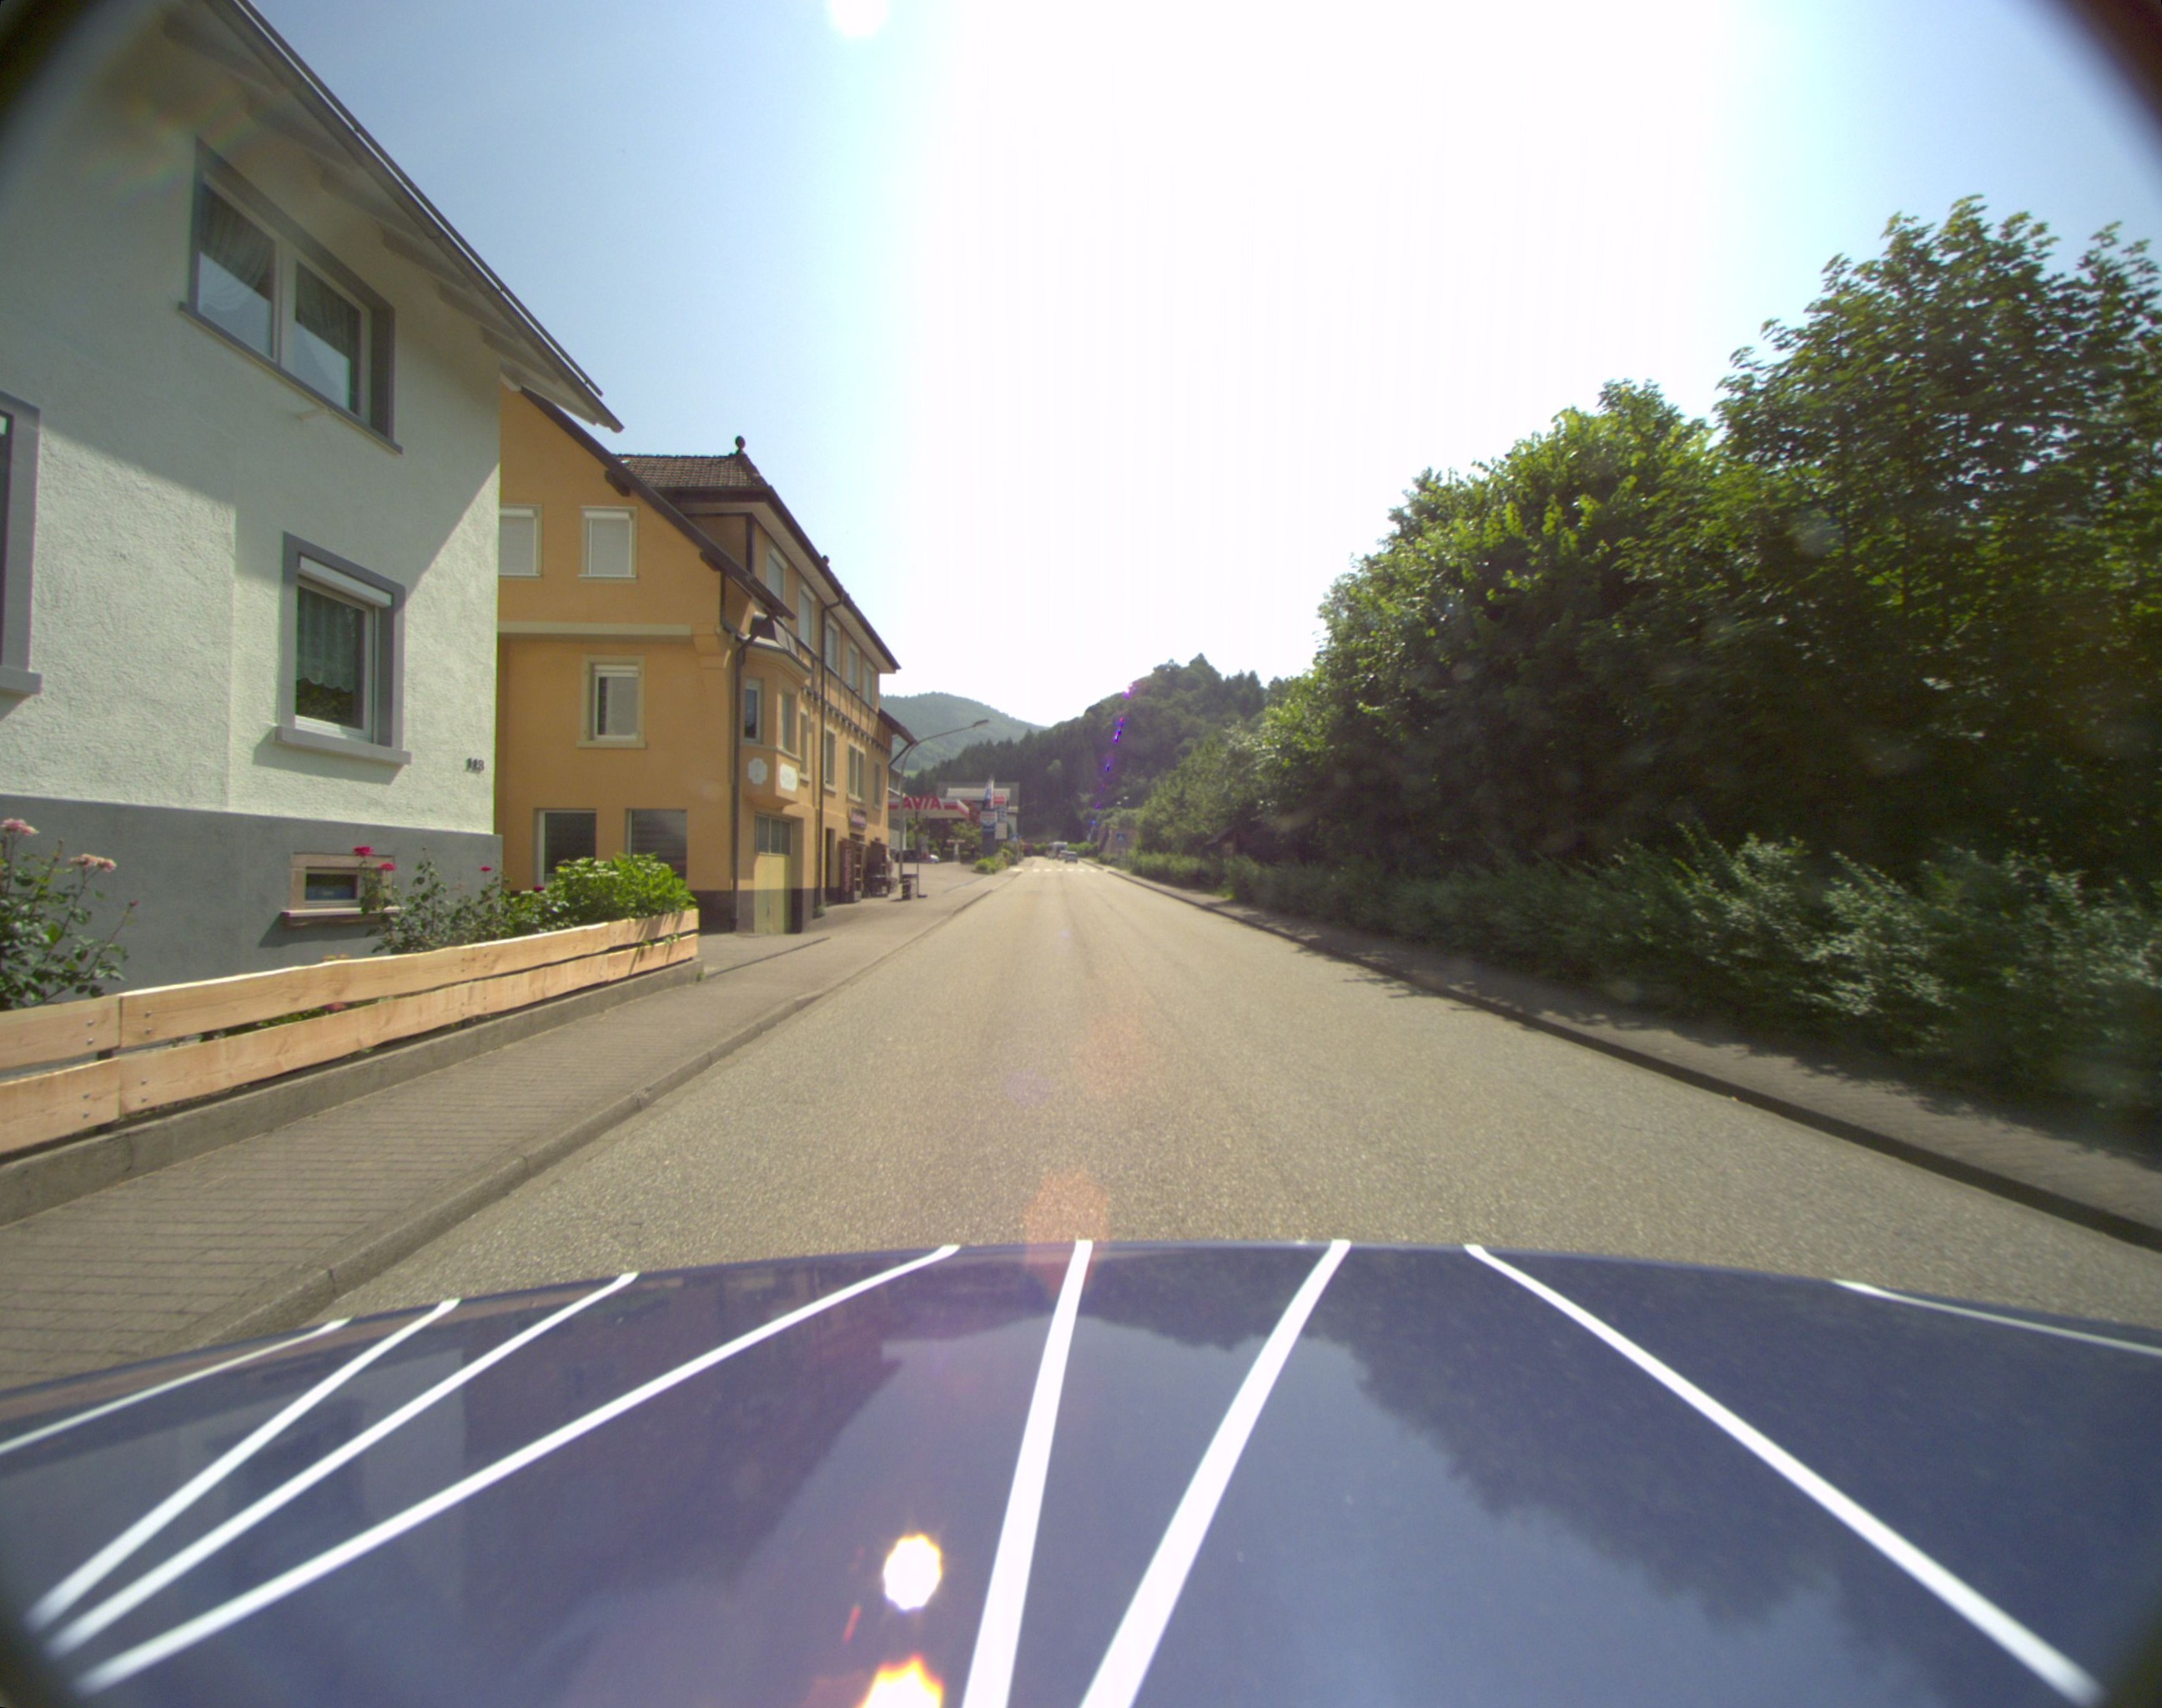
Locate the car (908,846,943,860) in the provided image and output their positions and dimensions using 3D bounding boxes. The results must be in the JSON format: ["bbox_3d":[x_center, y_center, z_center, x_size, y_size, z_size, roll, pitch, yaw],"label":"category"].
[{"bbox_3d":[-15.144,-0.147,74.217,3.081,1.138,1.334,4,1,-3],"label":"car"}]

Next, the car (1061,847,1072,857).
[{"bbox_3d":[-2.222,-0.264,118.658,1.609,1.398,3.825,3,1,-2],"label":"car"}]

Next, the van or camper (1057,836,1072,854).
[{"bbox_3d":[-2.878,-1.436,129.383,2.364,2.936,8.049,2,0,-2],"label":"van or camper"}]

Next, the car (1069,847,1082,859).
[{"bbox_3d":[-0.754,-0.154,100.149,1.594,1.474,3.756,2,0,0],"label":"car"}]

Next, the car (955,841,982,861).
[{"bbox_3d":[-9.501,-0.297,64.330,1.696,1.568,3.910,4,1,-1],"label":"car"}]

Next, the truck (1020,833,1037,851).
[{"bbox_3d":[-10.849,-2.554,157.168,2.653,3.561,8.184,2,1,-9],"label":"truck"}]
